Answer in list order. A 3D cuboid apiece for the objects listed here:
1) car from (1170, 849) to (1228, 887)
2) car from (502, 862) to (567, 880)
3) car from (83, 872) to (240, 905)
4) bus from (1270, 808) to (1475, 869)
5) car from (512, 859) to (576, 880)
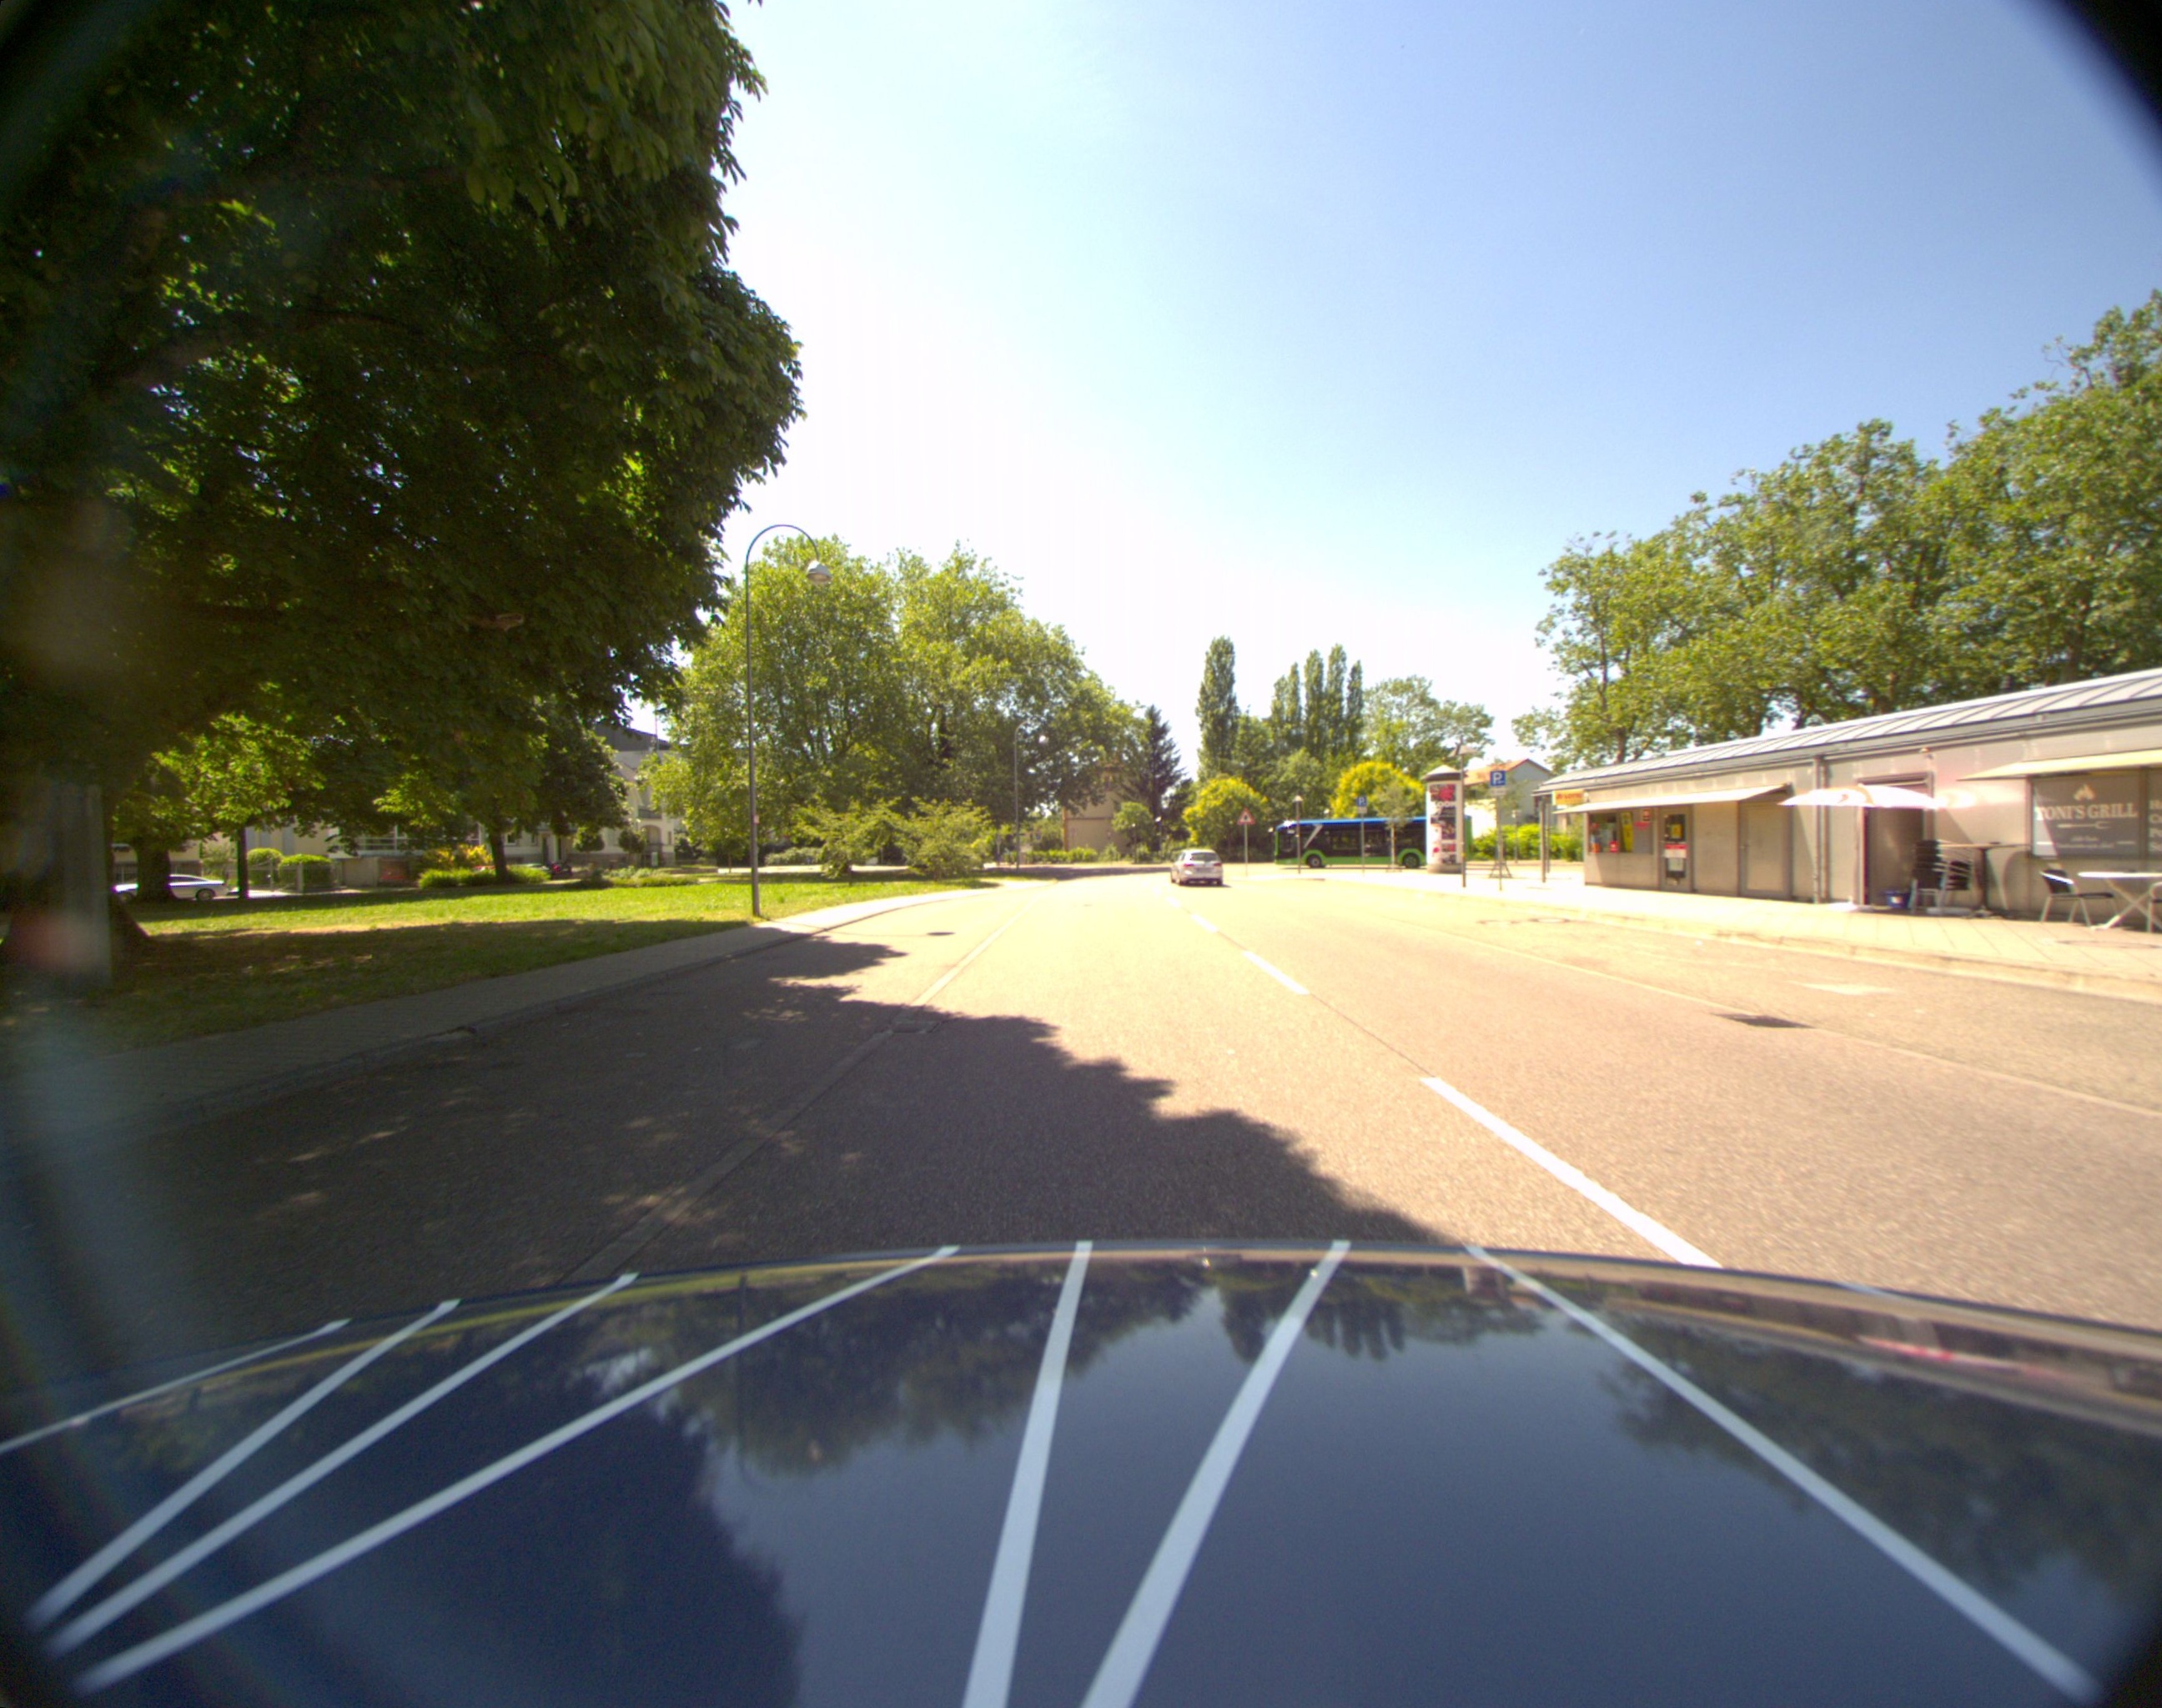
[{"bbox_3d":[4.731,0.528,30.953,1.819,1.436,4.158,0,0,1],"label":"car"},{"bbox_3d":[-44.107,1.367,61.340,3.994,1.383,2.001,-1,1,9],"label":"car"},{"bbox_3d":[-45.950,1.685,38.147,1.667,1.280,4.719,0,2,16],"label":"car"},{"bbox_3d":[18.700,-0.892,49.551,12.189,3.506,2.173,-1,1,32],"label":"bus"},{"bbox_3d":[-44.911,1.266,63.611,3.995,1.559,2.000,-1,3,5],"label":"car"}]
